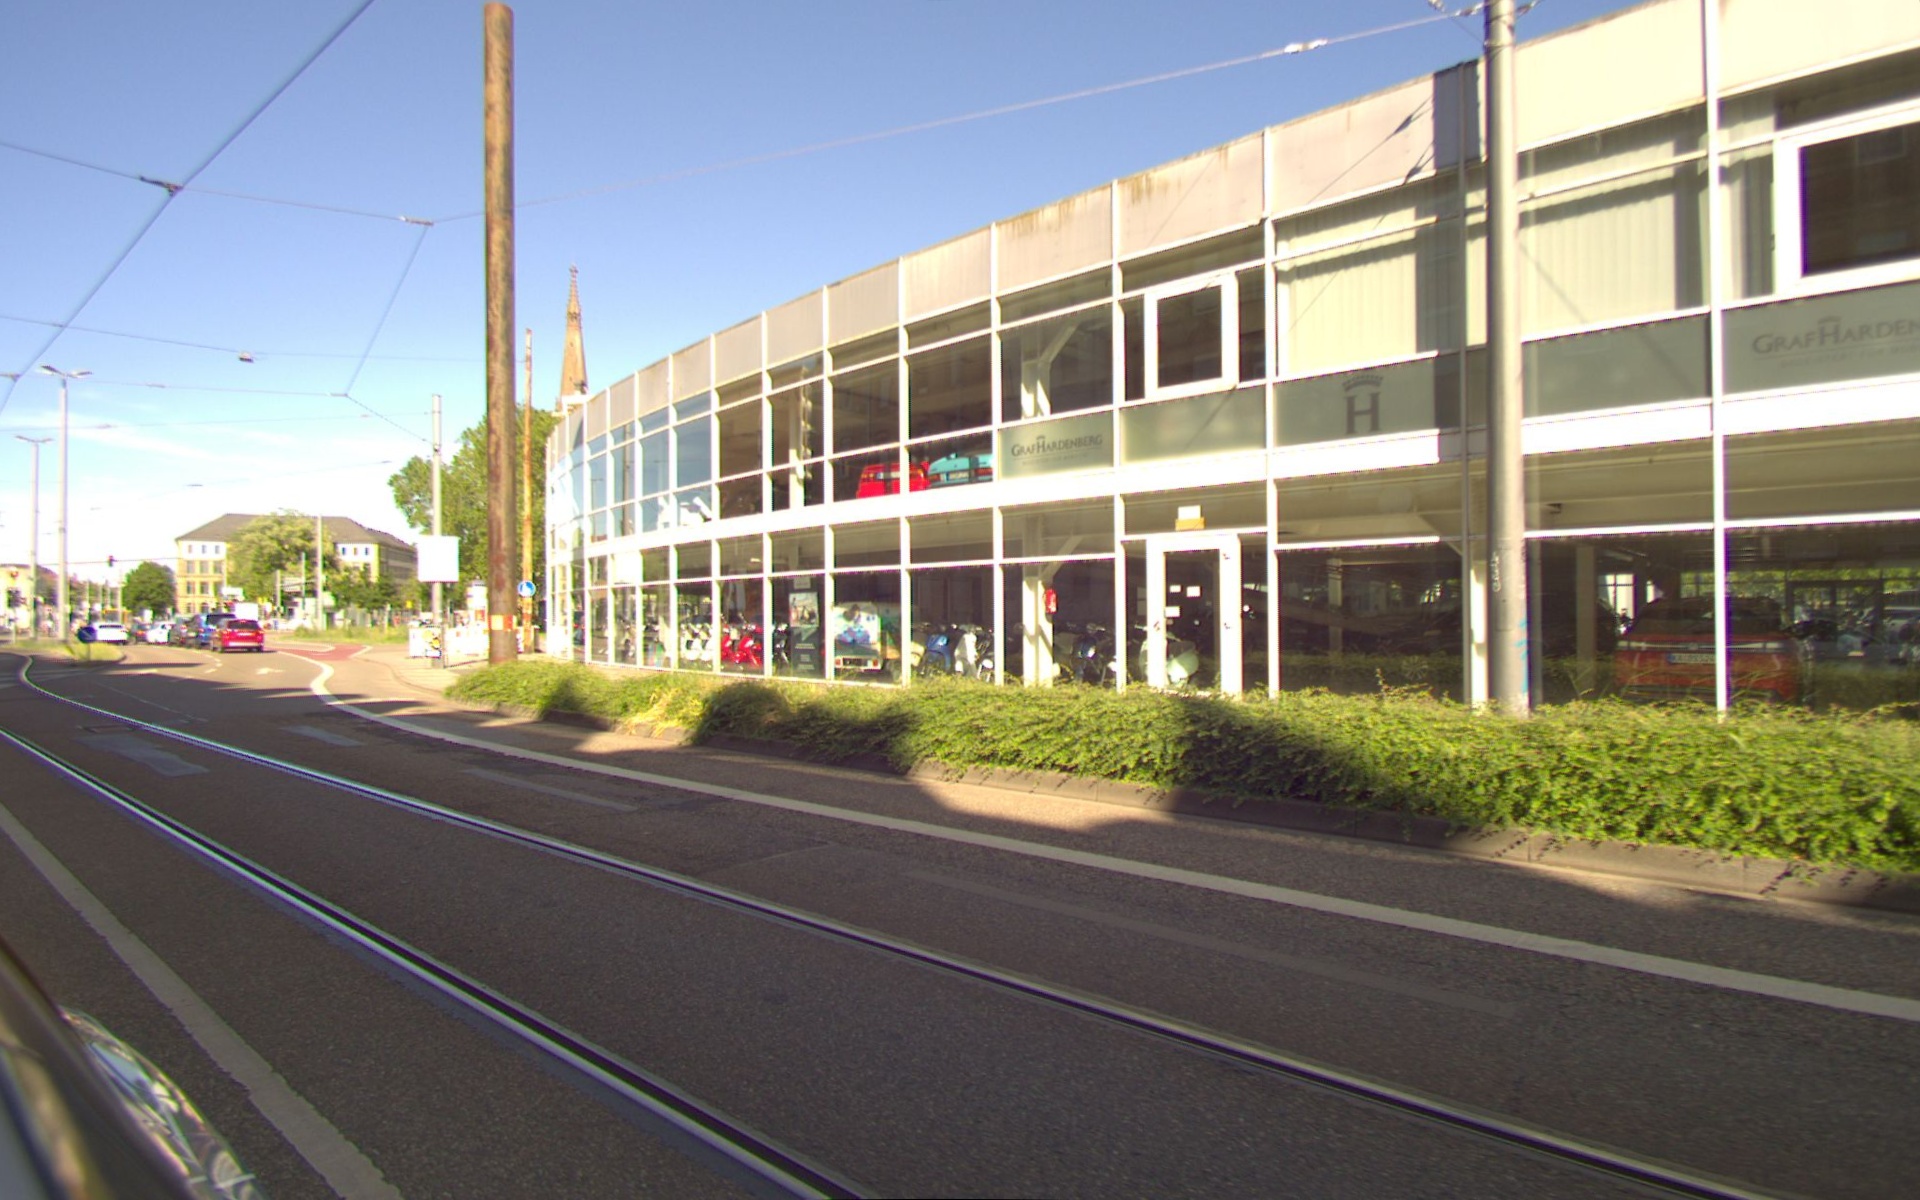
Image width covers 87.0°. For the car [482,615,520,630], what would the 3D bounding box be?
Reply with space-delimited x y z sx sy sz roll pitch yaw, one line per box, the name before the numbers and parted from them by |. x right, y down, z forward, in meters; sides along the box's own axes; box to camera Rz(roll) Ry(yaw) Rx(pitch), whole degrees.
car | -49.202 2.368 108.535 1.724 1.510 3.987 -2 -1 10

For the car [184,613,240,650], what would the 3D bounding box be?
car | -40.790 1.676 55.163 4.166 1.948 1.783 -1 -1 44

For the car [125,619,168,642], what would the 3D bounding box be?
car | -54.766 2.010 68.112 3.970 1.490 1.632 -1 -2 42

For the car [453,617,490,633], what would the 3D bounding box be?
car | -59.395 3.035 123.041 3.932 1.765 2.006 -2 1 -30

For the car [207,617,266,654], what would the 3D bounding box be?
car | -35.856 1.700 50.118 1.778 1.732 4.421 1 -1 -43

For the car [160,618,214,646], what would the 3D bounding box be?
car | -45.781 1.879 59.910 4.164 1.590 1.783 0 -1 42

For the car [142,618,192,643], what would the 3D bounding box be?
car | -50.617 1.891 64.579 3.999 1.443 1.784 0 1 42

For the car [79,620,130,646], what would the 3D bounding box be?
car | -53.149 2.021 62.846 4.540 1.443 1.784 0 1 42

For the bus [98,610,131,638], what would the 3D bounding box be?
bus | -114.635 3.158 137.296 2.805 3.144 11.846 -2 3 -37
